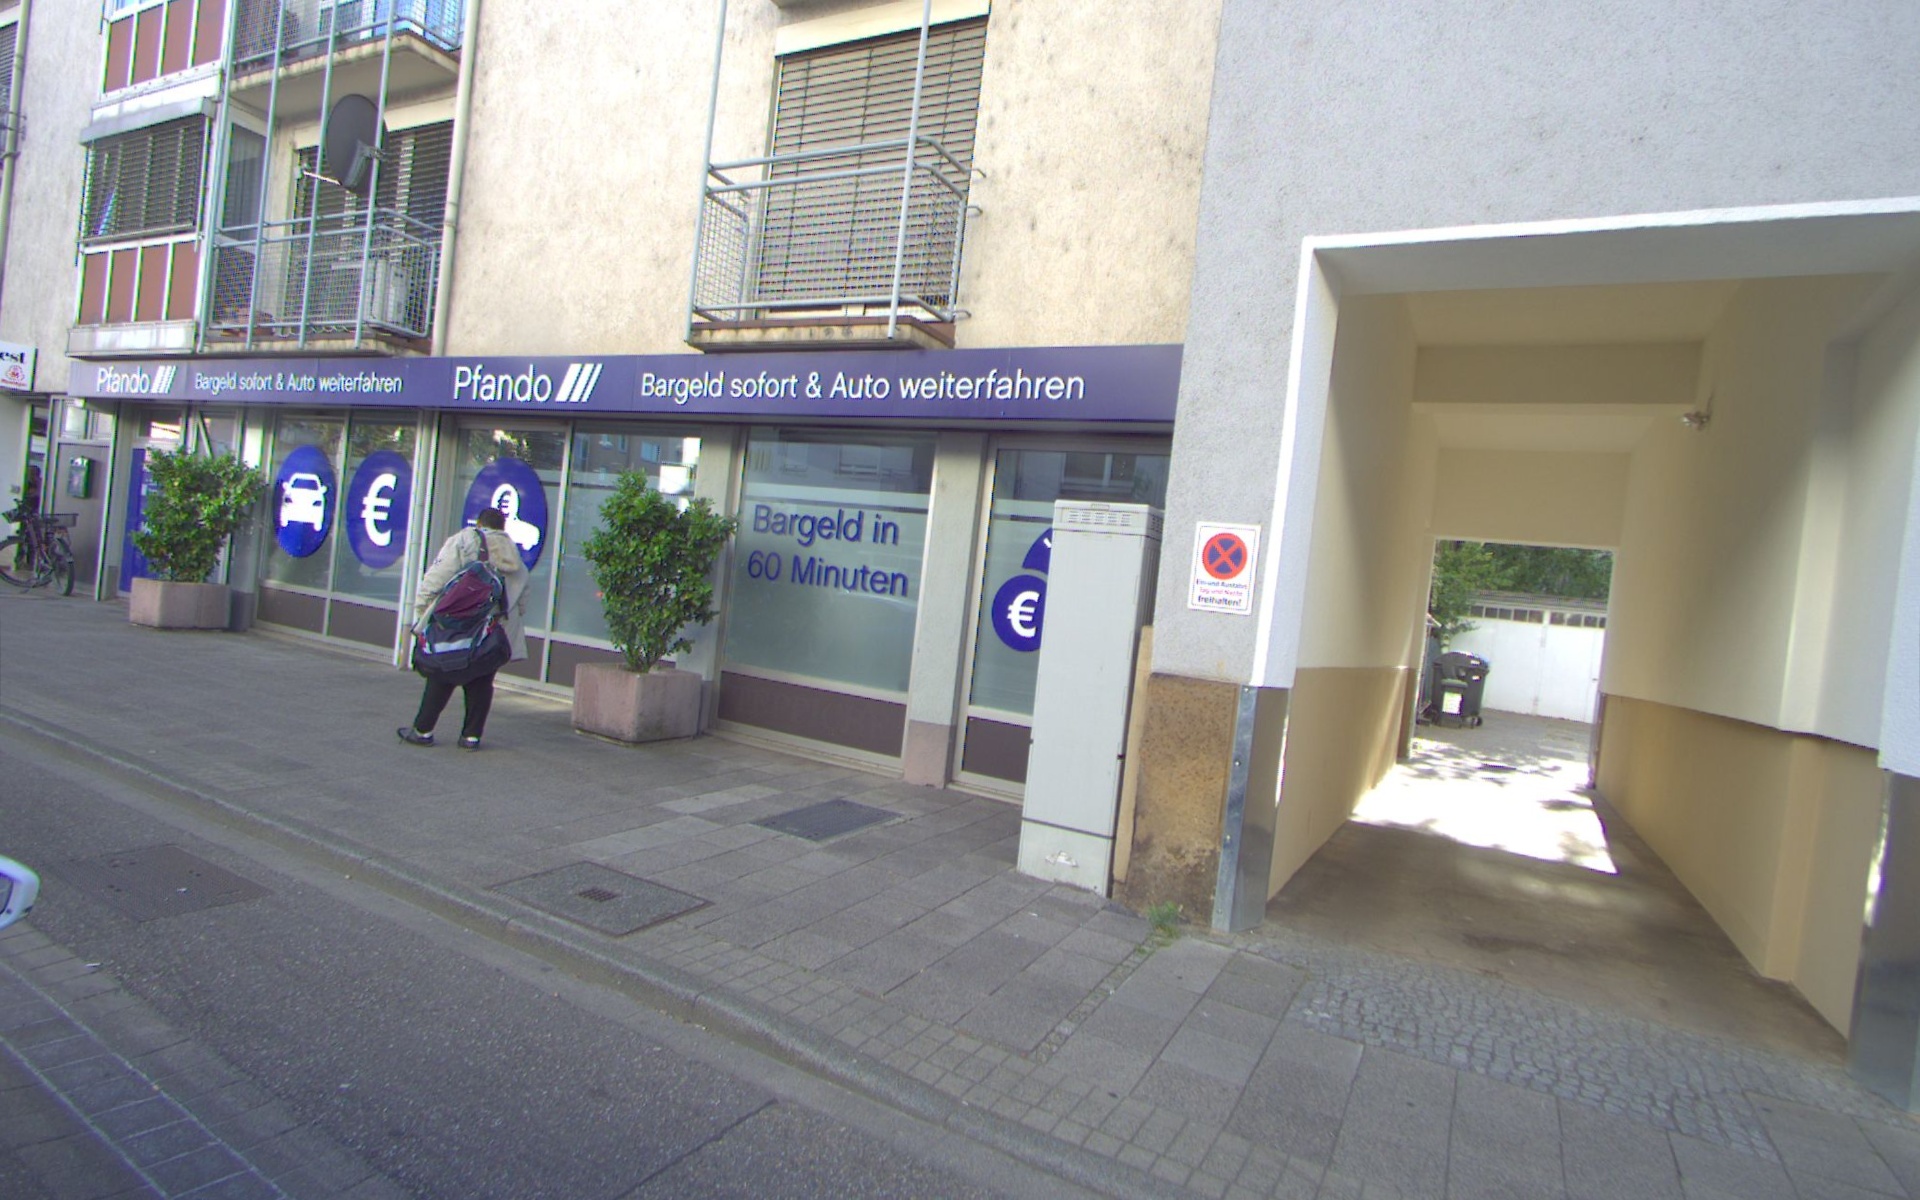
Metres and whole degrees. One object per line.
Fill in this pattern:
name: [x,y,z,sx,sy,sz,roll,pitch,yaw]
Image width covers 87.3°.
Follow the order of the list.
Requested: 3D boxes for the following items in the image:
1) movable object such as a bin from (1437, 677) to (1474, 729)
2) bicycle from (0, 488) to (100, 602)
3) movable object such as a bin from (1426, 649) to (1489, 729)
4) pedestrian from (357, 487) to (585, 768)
movable object such as a bin: [9.579,1.979,19.443,0.518,0.922,0.580,7,1,29]
bicycle: [-11.826,-0.727,12.870,1.879,1.280,0.640,7,1,32]
movable object such as a bin: [10.131,1.786,20.447,0.945,1.426,1.598,7,1,29]
pedestrian: [-3.107,0.153,6.421,0.853,1.593,0.874,8,3,29]
